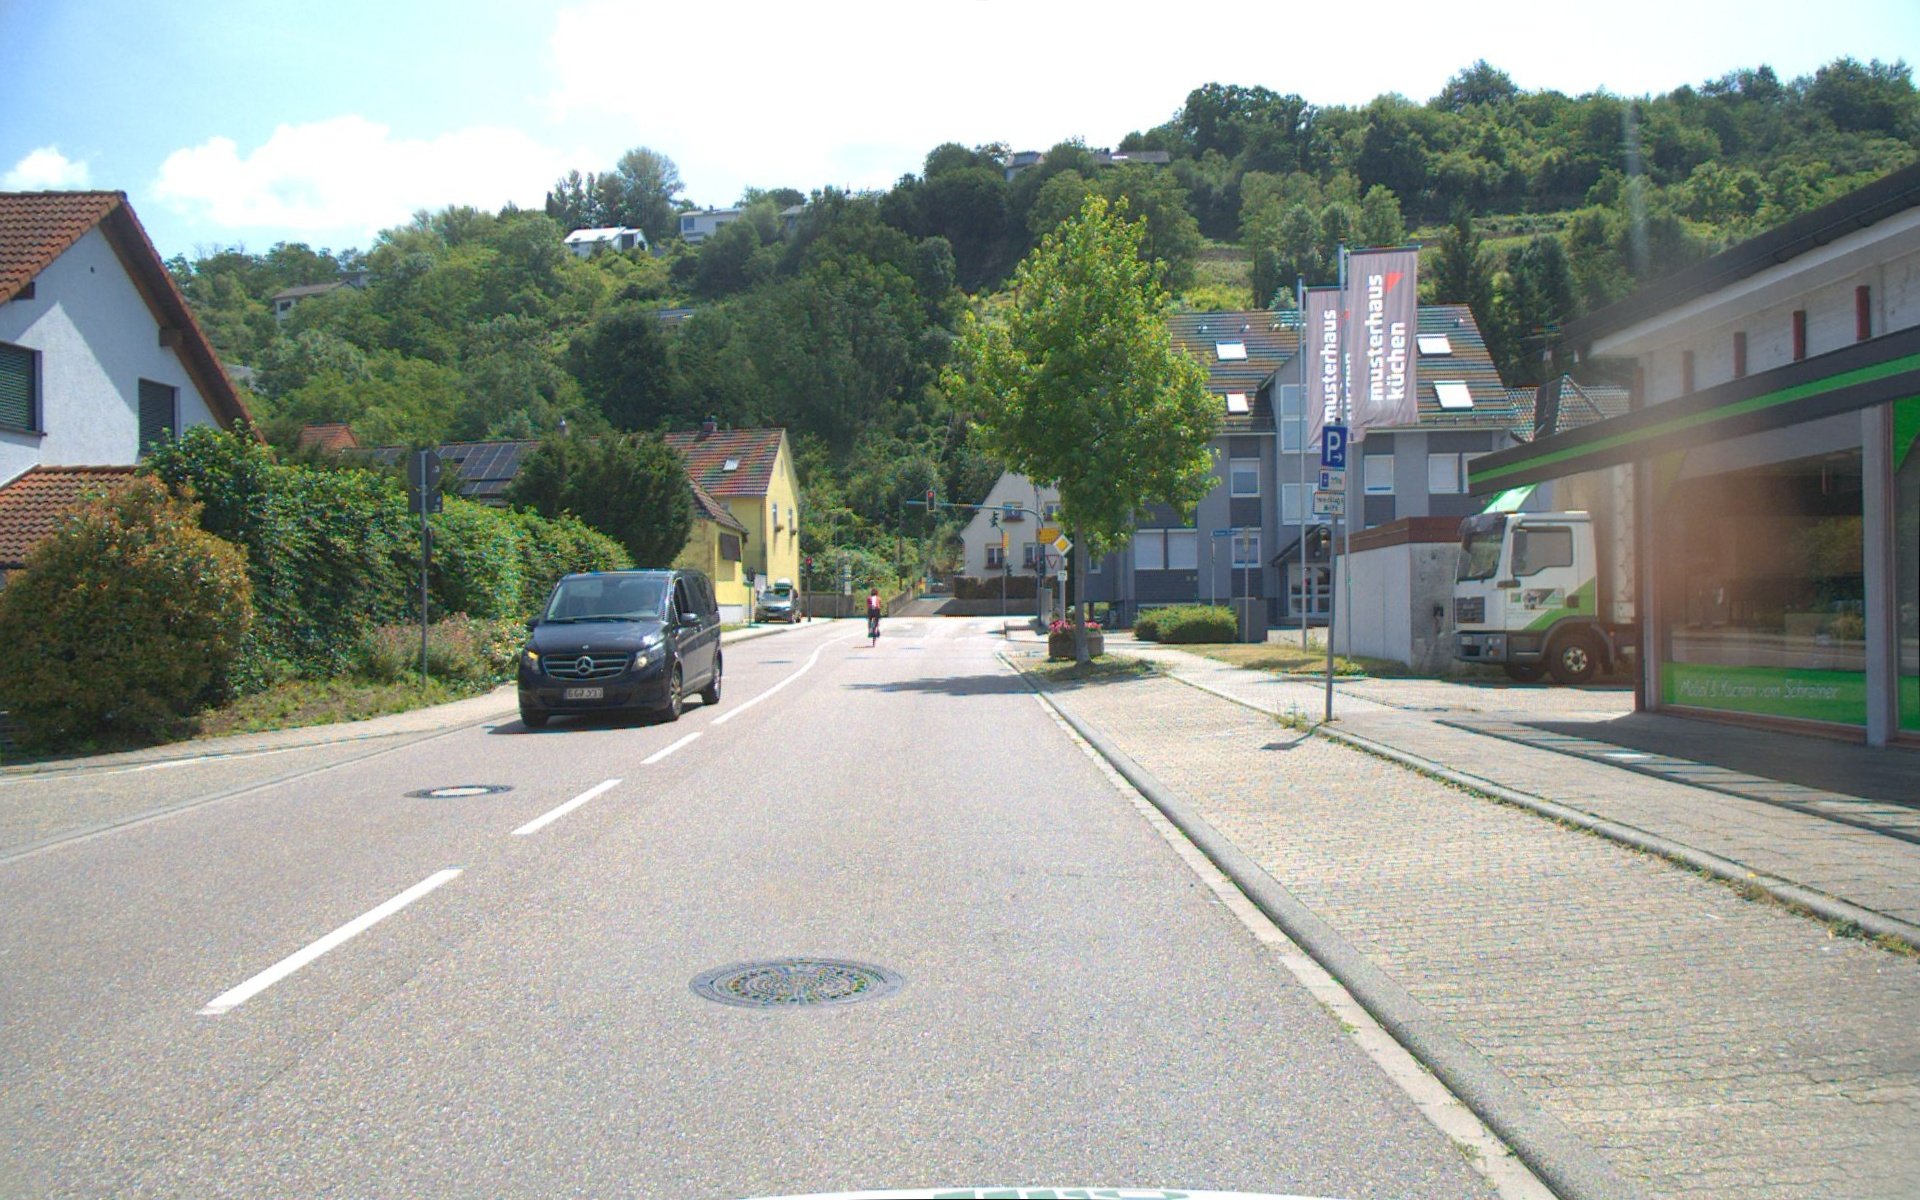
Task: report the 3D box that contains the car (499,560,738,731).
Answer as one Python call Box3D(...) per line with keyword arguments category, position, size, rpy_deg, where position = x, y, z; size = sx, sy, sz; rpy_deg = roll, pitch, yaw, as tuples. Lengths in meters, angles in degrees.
Box3D(category="car", position=(-4.252, 0.517, 21.472), size=(1.953, 1.884, 5.069), rpy_deg=(-2, 0, 0))

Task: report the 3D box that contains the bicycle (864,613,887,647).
Box3D(category="bicycle", position=(-2.386, 0.840, 46.518), size=(0.617, 0.920, 1.656), rpy_deg=(0, 0, -4))

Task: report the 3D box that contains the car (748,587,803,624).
Box3D(category="car", position=(-8.637, 0.242, 77.938), size=(1.952, 1.664, 4.631), rpy_deg=(1, 0, 1))

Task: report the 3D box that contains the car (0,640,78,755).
Box3D(category="car", position=(-12.231, 1.228, 19.265), size=(1.626, 1.308, 4.001), rpy_deg=(-3, 0, 2))

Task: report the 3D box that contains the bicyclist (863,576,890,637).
Box3D(category="bicyclist", position=(-2.356, 0.179, 46.555), size=(0.745, 1.693, 0.868), rpy_deg=(0, 0, -4))

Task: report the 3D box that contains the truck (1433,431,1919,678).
Box3D(category="truck", position=(11.759, -0.649, 25.762), size=(8.005, 3.635, 2.677), rpy_deg=(0, -1, -2))
